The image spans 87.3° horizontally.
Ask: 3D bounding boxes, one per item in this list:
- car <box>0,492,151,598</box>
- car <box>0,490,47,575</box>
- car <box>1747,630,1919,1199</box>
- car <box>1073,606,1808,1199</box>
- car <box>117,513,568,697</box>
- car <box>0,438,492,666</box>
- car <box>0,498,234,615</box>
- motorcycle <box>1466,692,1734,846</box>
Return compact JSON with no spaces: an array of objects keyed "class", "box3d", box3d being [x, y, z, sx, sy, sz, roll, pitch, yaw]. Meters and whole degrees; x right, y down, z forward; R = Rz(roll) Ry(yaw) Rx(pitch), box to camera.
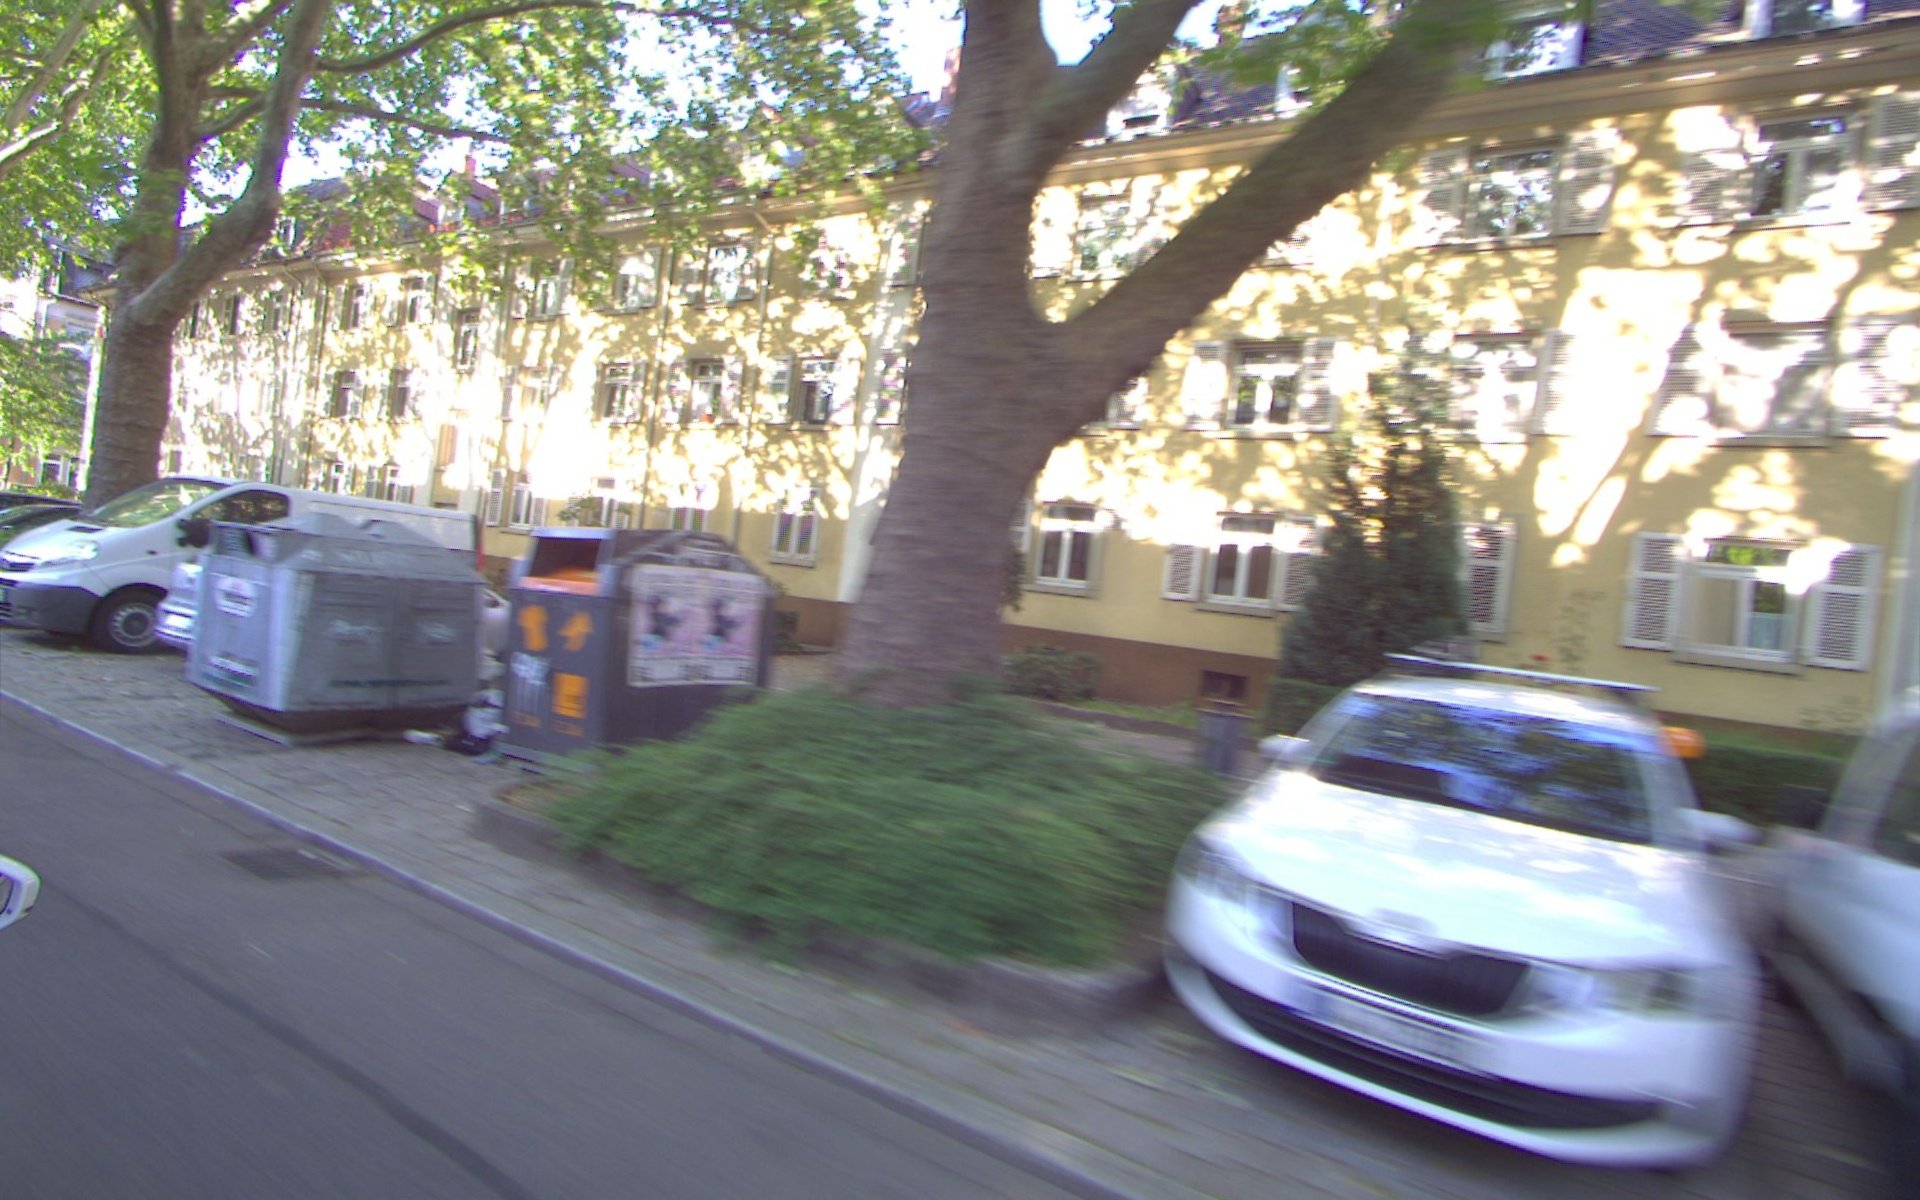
[{"class":"car","box3d":[-16.034,-1.054,16.187,1.866,1.501,4.254,7,-1,32]},{"class":"car","box3d":[-19.324,-1.476,18.131,1.682,1.527,3.844,7,-1,31]},{"class":"car","box3d":[4.354,1.231,3.739,1.887,1.793,3.846,7,-1,36]},{"class":"car","box3d":[2.452,1.089,4.704,1.773,1.560,4.373,8,0,36]},{"class":"car","box3d":[-6.153,0.143,10.435,1.644,1.464,3.533,7,-1,29]},{"class":"car","box3d":[-8.433,-0.397,11.867,2.030,1.987,4.846,7,-1,30]},{"class":"car","box3d":[-13.612,-0.734,14.749,1.776,1.397,4.399,6,-1,36]},{"class":"motorcycle","box3d":[6.715,1.730,10.702,2.226,1.168,0.716,7,1,32]}]
